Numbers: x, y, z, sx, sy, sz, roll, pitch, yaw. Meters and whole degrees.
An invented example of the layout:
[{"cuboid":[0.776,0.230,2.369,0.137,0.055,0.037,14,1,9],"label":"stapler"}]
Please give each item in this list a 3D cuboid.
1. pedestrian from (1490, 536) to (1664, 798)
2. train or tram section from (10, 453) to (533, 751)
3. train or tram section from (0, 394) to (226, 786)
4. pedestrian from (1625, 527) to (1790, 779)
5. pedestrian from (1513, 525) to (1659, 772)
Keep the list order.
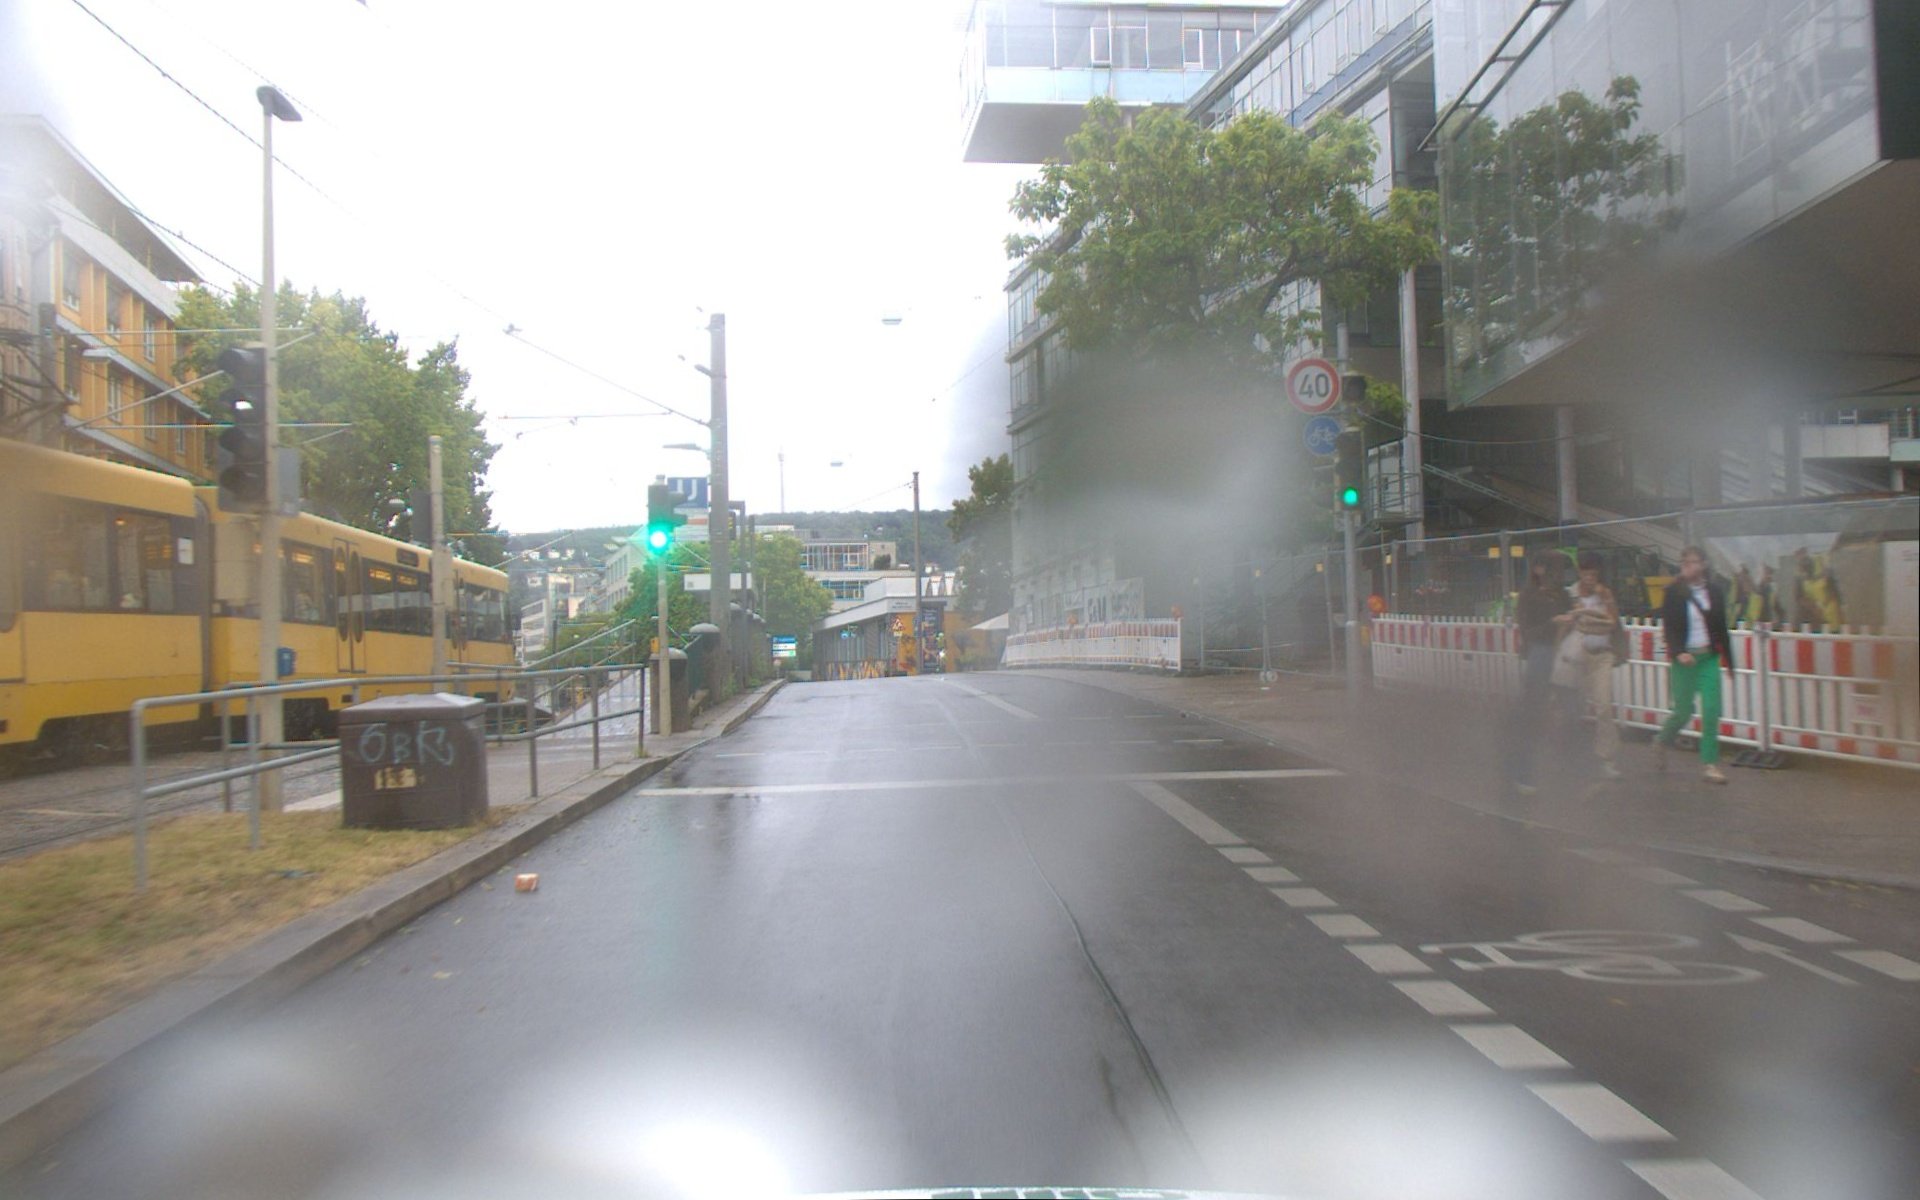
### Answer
[{"cuboid":[4.381,0.450,11.809,0.722,1.760,1.117,-2,0,-5],"label":"pedestrian"},{"cuboid":[-11.291,0.162,30.736,2.691,3.761,18.957,-1,-1,-3],"label":"train or tram section"},{"cuboid":[-10.332,-0.138,11.749,2.691,3.761,18.957,-1,-1,-3],"label":"train or tram section"},{"cuboid":[5.680,0.380,12.622,0.686,1.816,1.066,-2,0,-5],"label":"pedestrian"},{"cuboid":[4.901,0.362,13.008,0.686,1.847,0.976,-2,0,-5],"label":"pedestrian"}]
